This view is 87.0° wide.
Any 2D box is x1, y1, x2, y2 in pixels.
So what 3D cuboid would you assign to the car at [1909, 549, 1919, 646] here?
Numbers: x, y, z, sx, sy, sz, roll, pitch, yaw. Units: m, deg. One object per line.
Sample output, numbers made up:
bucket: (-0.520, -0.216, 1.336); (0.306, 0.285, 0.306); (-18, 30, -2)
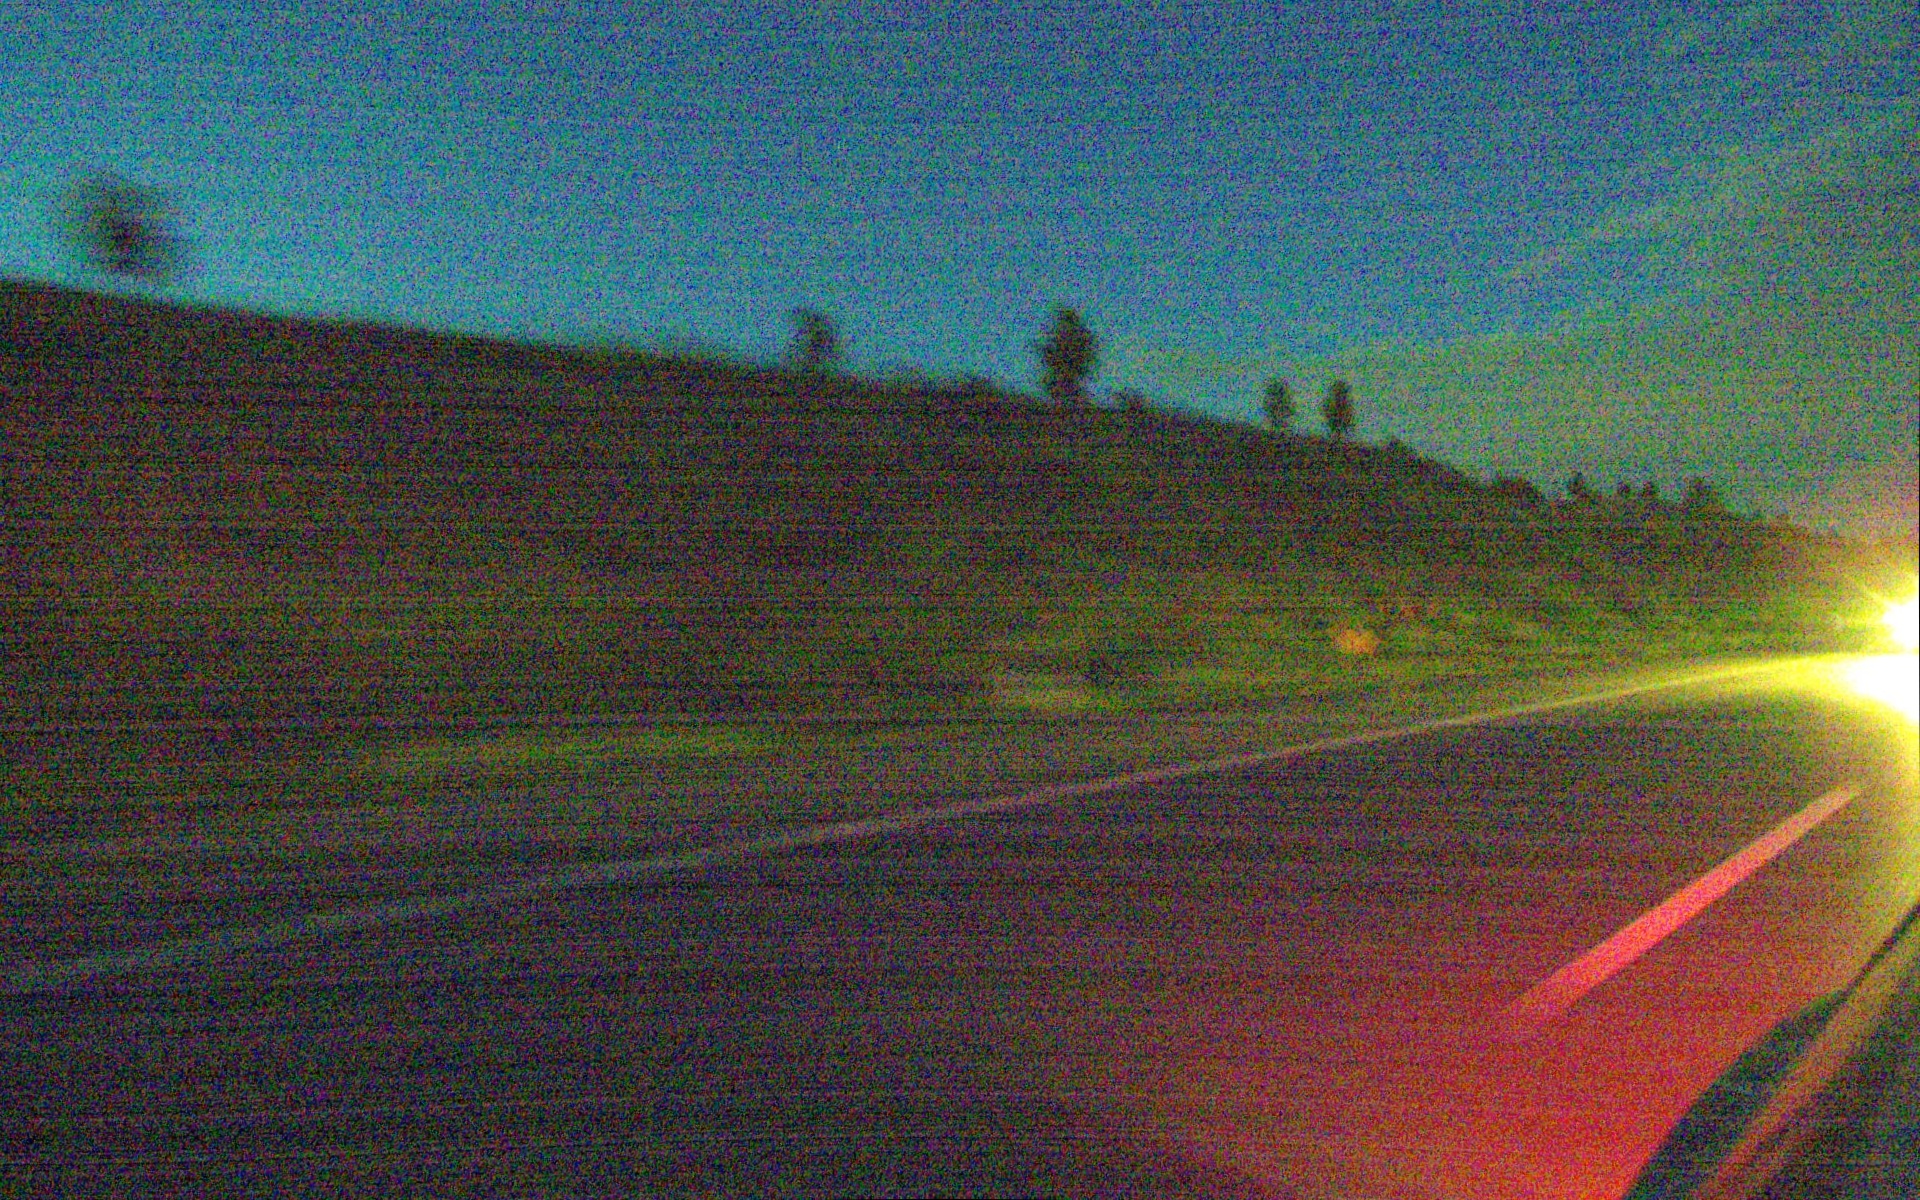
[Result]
car: (29.226, -0.060, 29.099); (5.620, 2.680, 2.037); (0, 0, -38)
